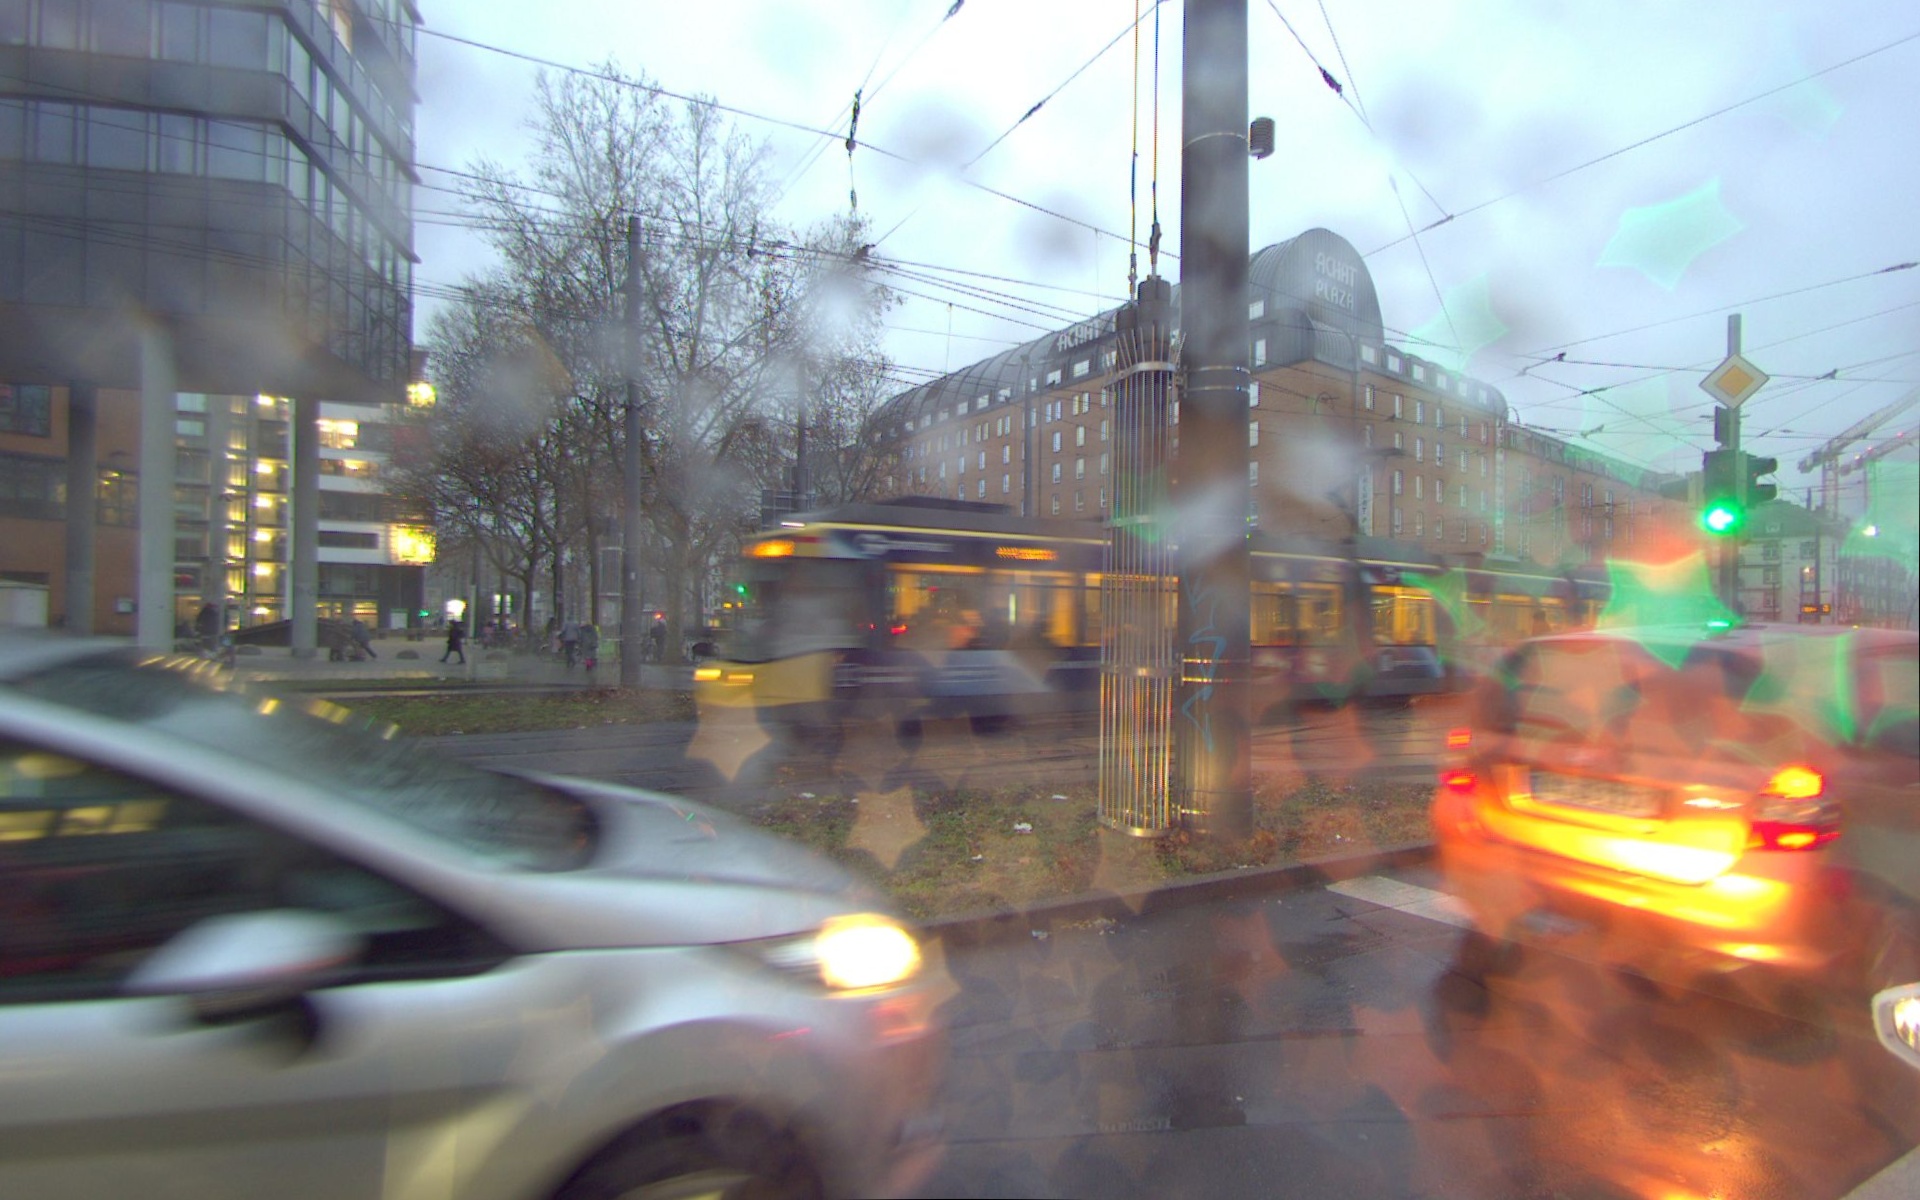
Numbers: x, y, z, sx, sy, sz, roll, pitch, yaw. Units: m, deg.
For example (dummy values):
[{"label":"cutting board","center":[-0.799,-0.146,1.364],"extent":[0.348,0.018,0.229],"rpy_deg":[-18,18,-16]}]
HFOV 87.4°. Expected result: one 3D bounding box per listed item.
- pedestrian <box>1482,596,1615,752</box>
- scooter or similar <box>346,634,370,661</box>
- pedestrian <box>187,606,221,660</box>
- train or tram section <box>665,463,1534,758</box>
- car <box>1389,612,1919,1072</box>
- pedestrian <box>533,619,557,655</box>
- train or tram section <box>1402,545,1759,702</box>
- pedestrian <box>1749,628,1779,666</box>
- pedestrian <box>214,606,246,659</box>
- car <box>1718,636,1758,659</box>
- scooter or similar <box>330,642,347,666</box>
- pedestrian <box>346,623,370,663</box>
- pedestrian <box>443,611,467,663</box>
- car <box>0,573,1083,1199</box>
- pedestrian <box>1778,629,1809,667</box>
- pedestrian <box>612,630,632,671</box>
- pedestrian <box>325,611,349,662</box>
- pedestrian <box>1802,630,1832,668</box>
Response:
[{"label":"pedestrian","center":[6.367,0.797,10.920],"extent":[1.016,1.621,0.716],"rpy_deg":[0,-3,10]},{"label":"scooter or similar","center":[-21.713,1.715,36.247],"extent":[0.657,0.973,0.550],"rpy_deg":[1,-2,-24]},{"label":"pedestrian","center":[-26.898,1.187,35.737],"extent":[0.561,1.888,0.736],"rpy_deg":[0,-2,6]},{"label":"train or tram section","center":[4.618,0.399,19.306],"extent":[19.866,3.662,2.847],"rpy_deg":[2,-2,-35]},{"label":"car","center":[4.031,0.839,4.910],"extent":[3.713,1.478,1.690],"rpy_deg":[2,-2,-30]},{"label":"pedestrian","center":[-20.924,1.850,50.644],"extent":[0.806,1.783,0.733],"rpy_deg":[-1,-2,34]},{"label":"train or tram section","center":[19.697,0.823,30.531],"extent":[19.042,3.662,2.843],"rpy_deg":[2,-2,-38]},{"label":"pedestrian","center":[44.021,2.574,54.981],"extent":[0.820,2.040,0.980],"rpy_deg":[1,-1,-15]},{"label":"pedestrian","center":[-26.766,1.191,36.813],"extent":[0.561,1.888,0.736],"rpy_deg":[0,-2,5]},{"label":"car","center":[57.437,3.474,74.102],"extent":[3.839,1.645,1.769],"rpy_deg":[2,-1,-43]},{"label":"scooter or similar","center":[-22.736,1.981,36.767],"extent":[0.426,0.861,0.550],"rpy_deg":[1,-2,-24]},{"label":"pedestrian","center":[-22.201,1.582,37.061],"extent":[0.675,1.478,0.569],"rpy_deg":[1,-2,-24]},{"label":"pedestrian","center":[-18.559,1.375,36.945],"extent":[0.725,1.888,0.569],"rpy_deg":[1,-2,-24]},{"label":"car","center":[-1.874,0.708,1.872],"extent":[3.951,1.467,1.698],"rpy_deg":[1,-1,-29]},{"label":"pedestrian","center":[45.570,2.622,54.926],"extent":[0.820,2.040,0.980],"rpy_deg":[1,-1,-15]},{"label":"pedestrian","center":[-14.344,2.126,42.663],"extent":[0.679,1.728,0.526],"rpy_deg":[1,-2,-6]},{"label":"pedestrian","center":[-22.312,1.300,35.990],"extent":[0.628,1.797,0.569],"rpy_deg":[1,-2,-24]},{"label":"pedestrian","center":[46.943,2.671,55.029],"extent":[0.820,2.040,0.980],"rpy_deg":[1,-1,-15]}]
